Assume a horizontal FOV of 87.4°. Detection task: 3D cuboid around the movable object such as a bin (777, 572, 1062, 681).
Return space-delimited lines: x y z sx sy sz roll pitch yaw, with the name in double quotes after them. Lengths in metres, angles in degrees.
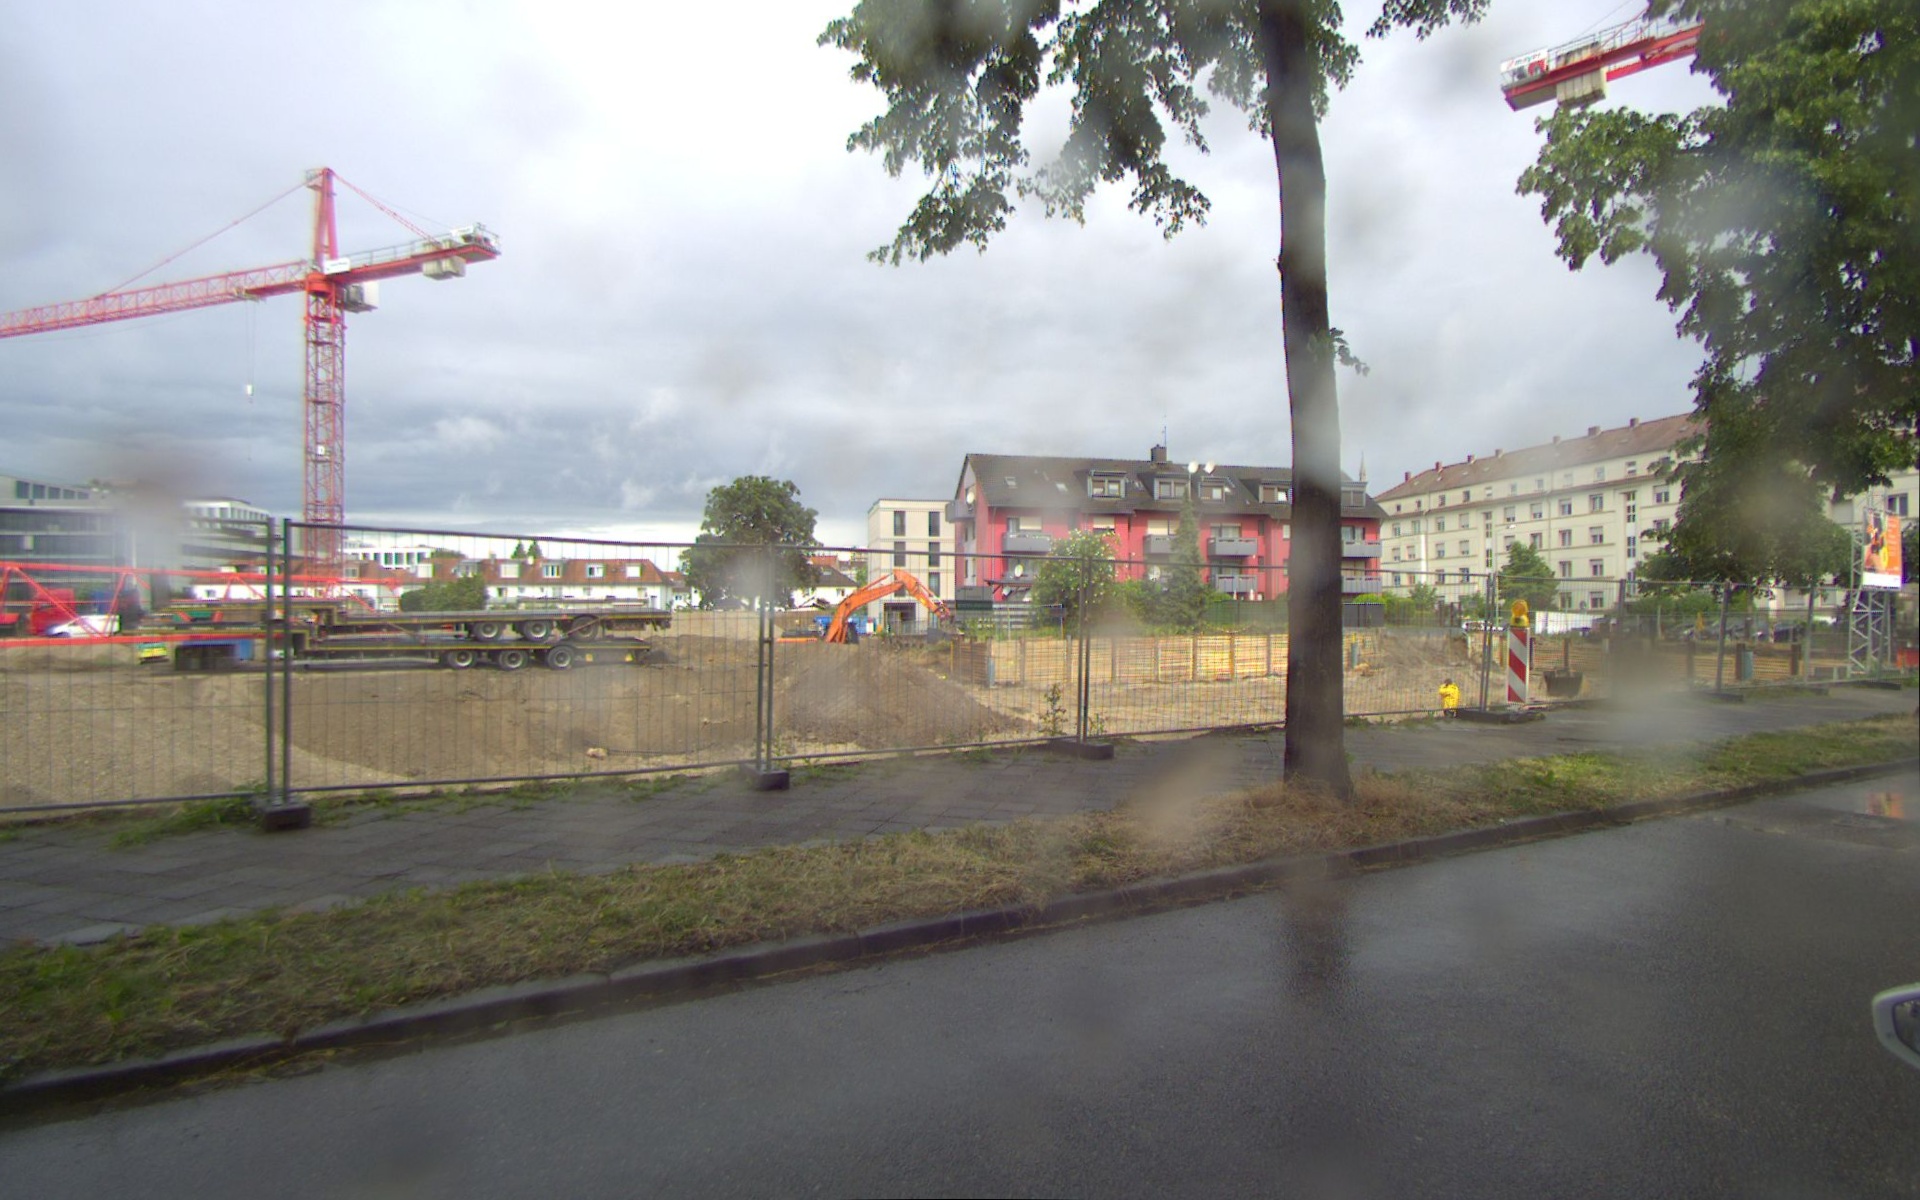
-2.547 1.489 61.300 16.430 6.125 6.885 0 0 -6 "movable object such as a bin"
